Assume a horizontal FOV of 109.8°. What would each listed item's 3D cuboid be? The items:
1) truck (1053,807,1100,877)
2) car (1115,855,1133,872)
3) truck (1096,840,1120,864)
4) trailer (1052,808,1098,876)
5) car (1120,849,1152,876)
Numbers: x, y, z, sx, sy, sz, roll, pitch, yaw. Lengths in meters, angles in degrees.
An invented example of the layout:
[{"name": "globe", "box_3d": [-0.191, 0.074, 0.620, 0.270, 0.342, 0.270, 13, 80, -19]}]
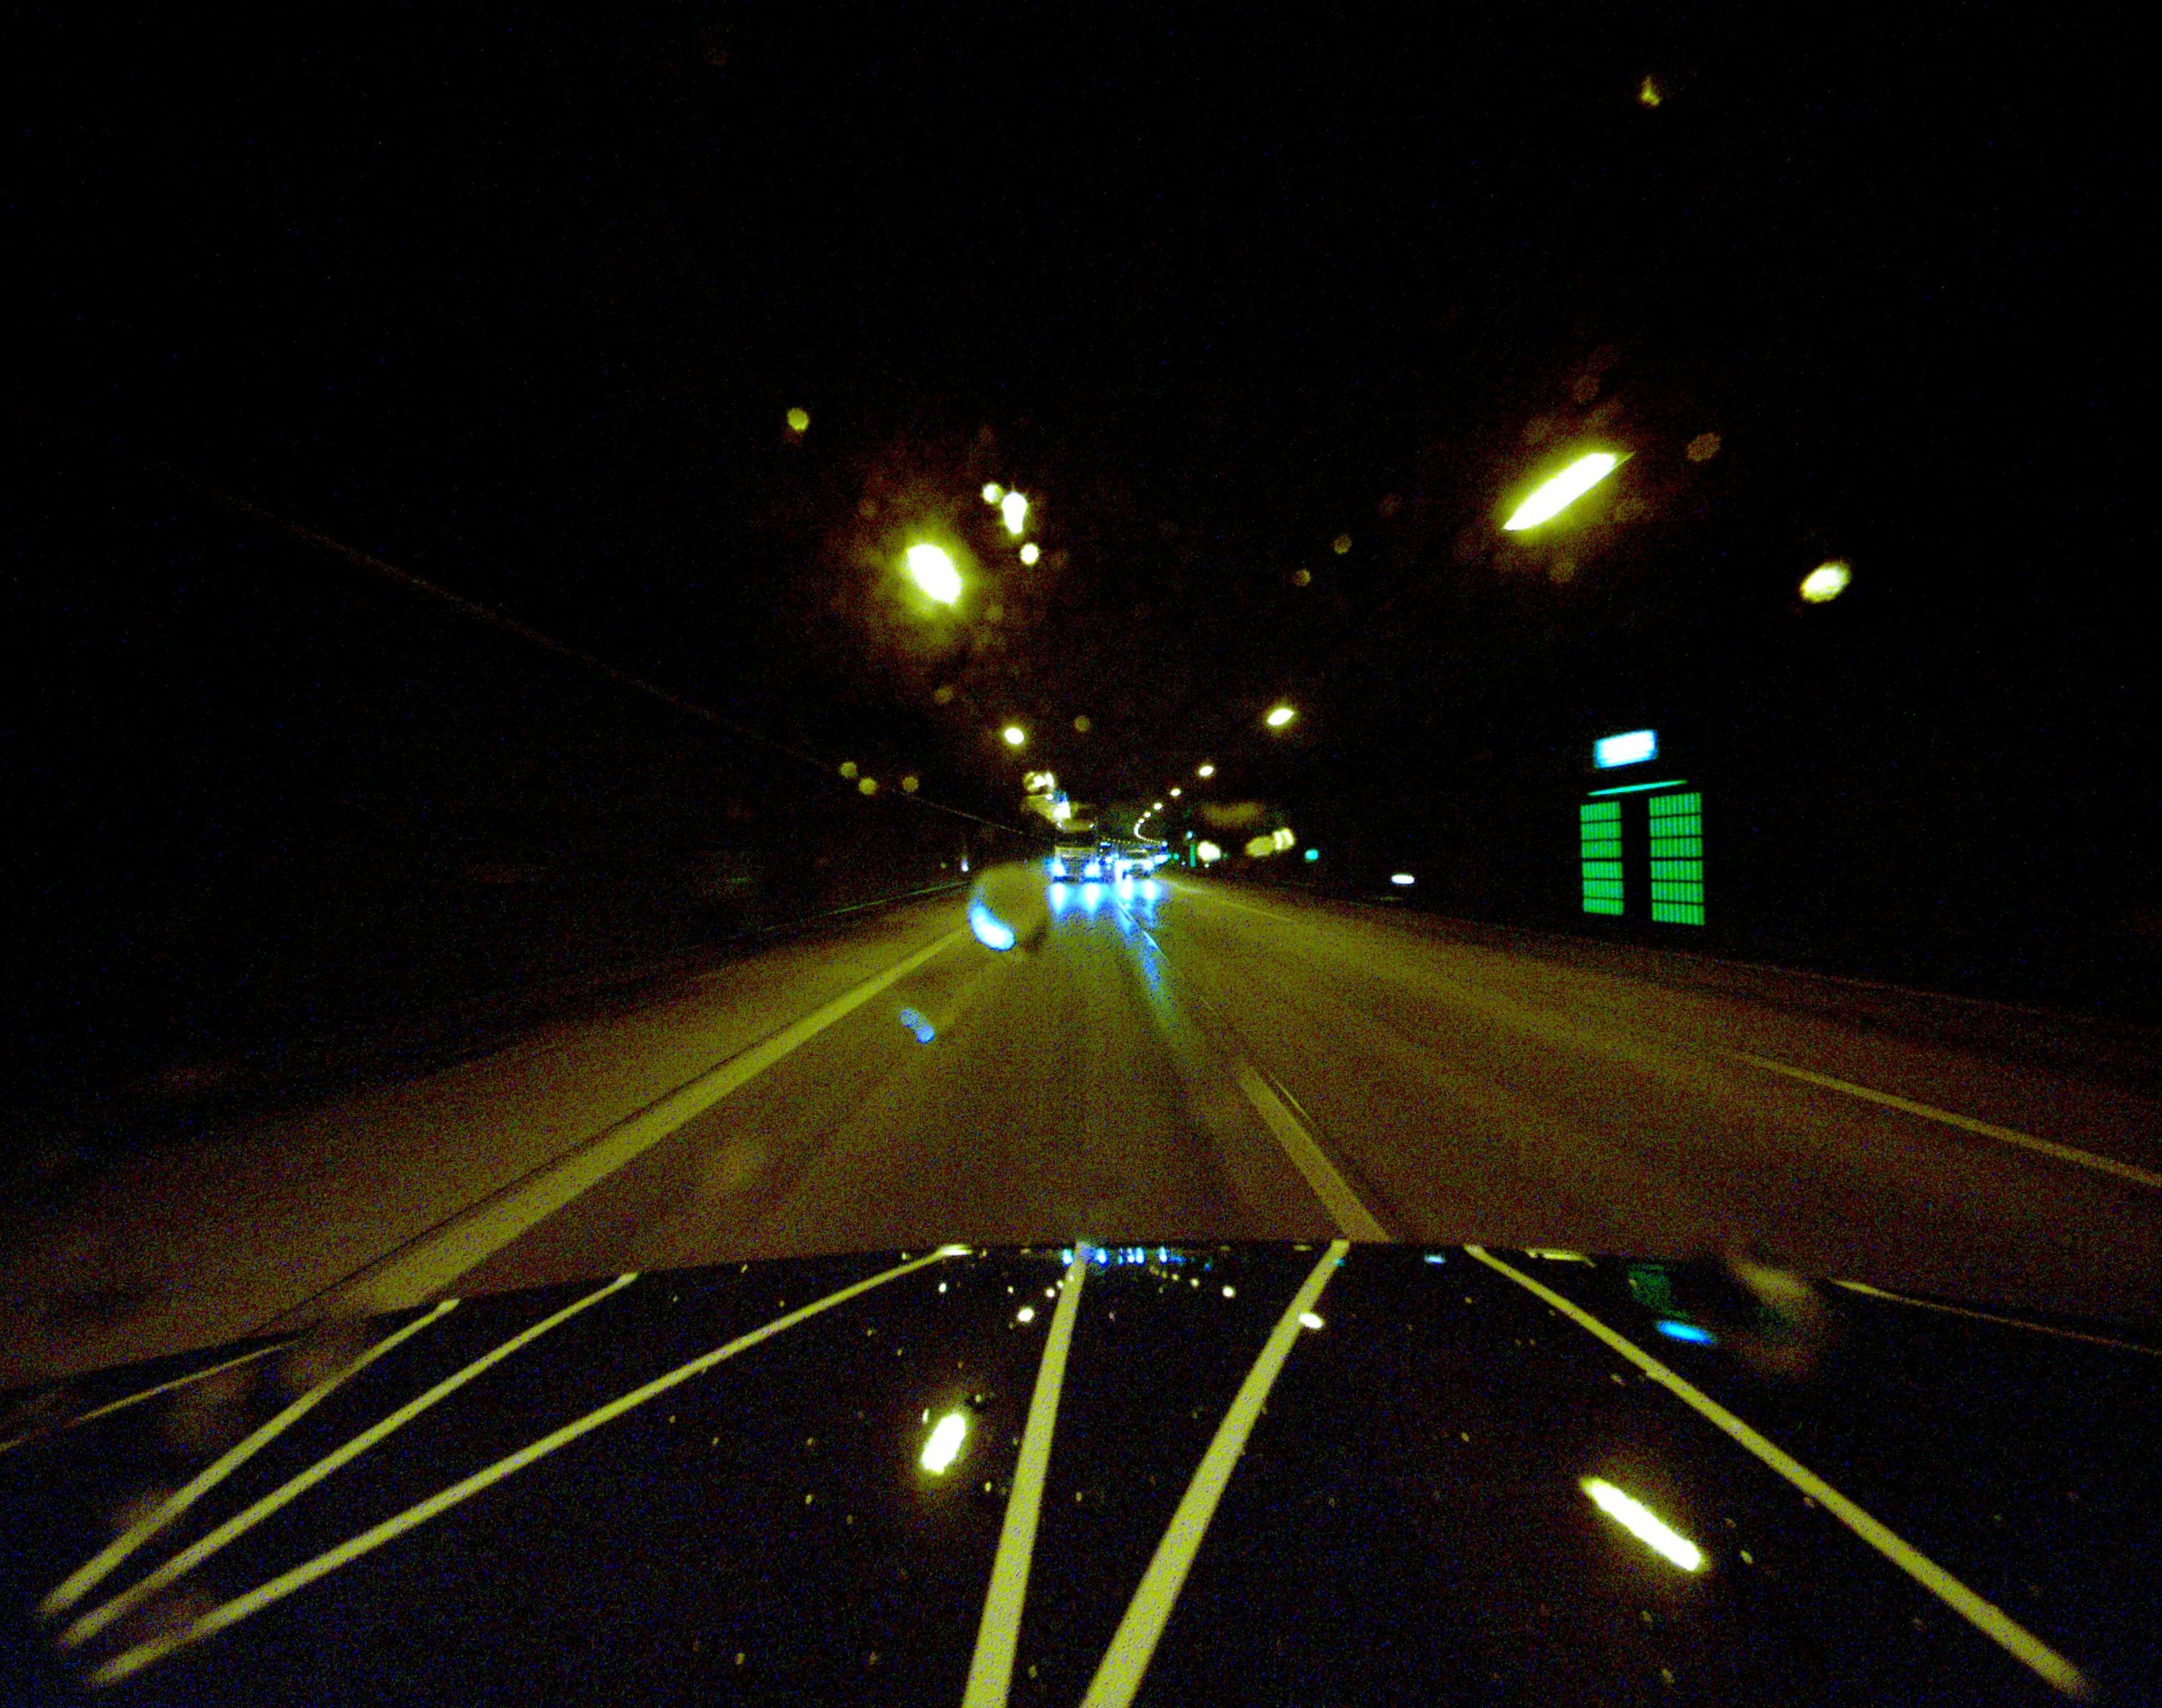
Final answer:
[{"name": "truck", "box_3d": [-0.382, -0.724, 47.515, 2.653, 4.139, 6.003, 0, 1, -3]}, {"name": "car", "box_3d": [5.246, 1.124, 92.224, 1.998, 1.890, 4.000, -4, 0, 3]}, {"name": "truck", "box_3d": [4.711, -0.420, 129.177, 2.898, 3.819, 9.003, -1, 1, 10]}, {"name": "trailer", "box_3d": [-0.635, -0.736, 53.696, 2.628, 4.139, 13.996, -1, 0, -3]}, {"name": "car", "box_3d": [3.940, 0.590, 54.666, 1.998, 1.890, 4.000, 0, 0, 0]}]
